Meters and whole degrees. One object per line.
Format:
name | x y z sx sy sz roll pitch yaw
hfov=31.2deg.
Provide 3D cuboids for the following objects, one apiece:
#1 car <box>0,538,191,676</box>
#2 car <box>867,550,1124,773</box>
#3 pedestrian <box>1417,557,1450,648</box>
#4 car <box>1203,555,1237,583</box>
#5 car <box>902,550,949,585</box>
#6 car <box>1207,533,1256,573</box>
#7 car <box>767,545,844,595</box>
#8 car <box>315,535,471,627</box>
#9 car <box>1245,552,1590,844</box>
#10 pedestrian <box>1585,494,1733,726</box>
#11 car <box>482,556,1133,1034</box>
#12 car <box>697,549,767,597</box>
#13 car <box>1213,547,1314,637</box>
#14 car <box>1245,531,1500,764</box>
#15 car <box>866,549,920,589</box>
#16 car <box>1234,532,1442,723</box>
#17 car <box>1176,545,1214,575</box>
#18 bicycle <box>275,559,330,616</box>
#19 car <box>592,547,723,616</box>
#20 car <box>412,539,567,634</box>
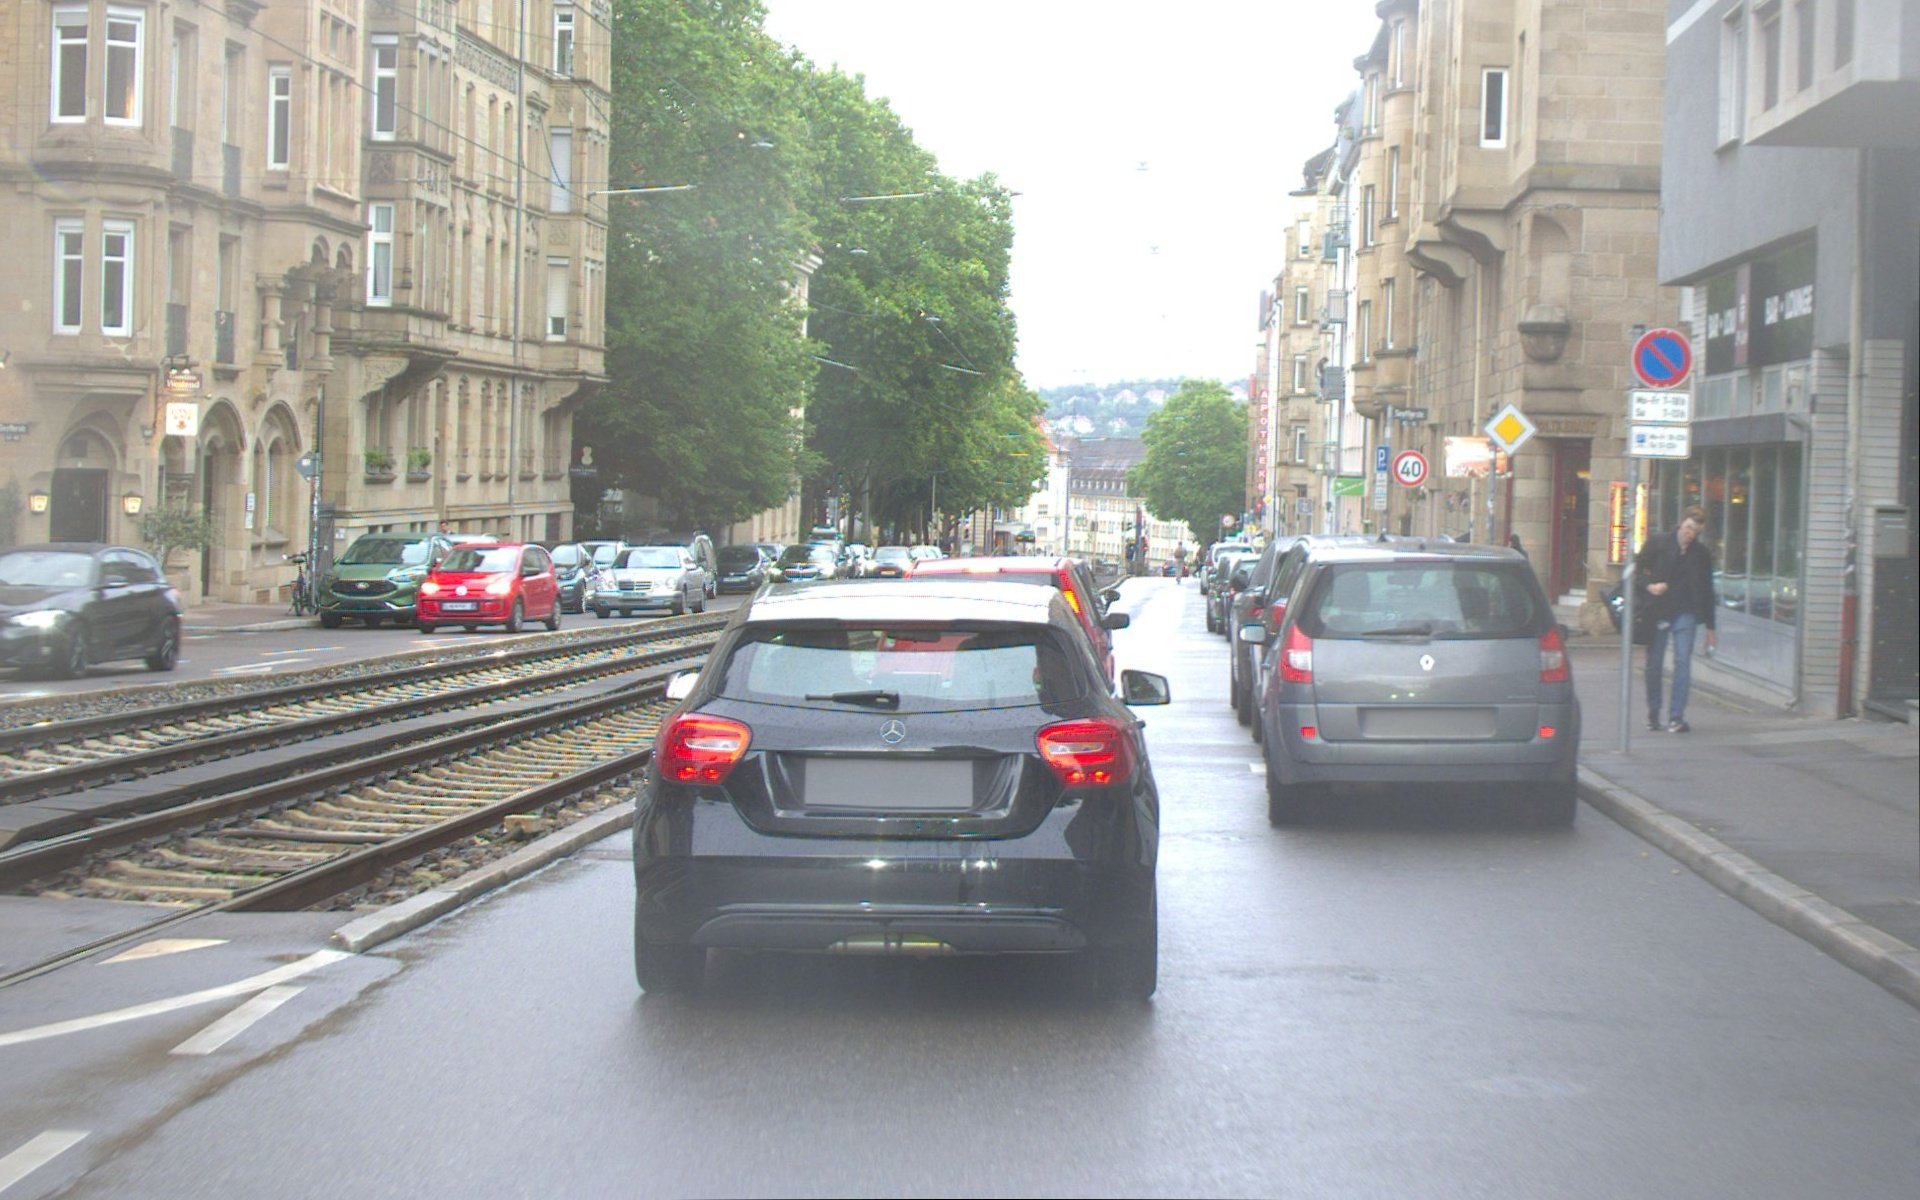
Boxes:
car | -9.823 0.040 36.760 1.948 1.392 4.273 0 1 4
car | 0.335 0.388 25.283 1.649 1.447 4.000 2 1 3
pedestrian | 7.721 0.043 56.082 0.454 1.462 0.610 1 1 4
car | 13.024 -1.554 172.174 1.614 1.313 4.000 3 1 4
car | -1.395 -1.355 141.996 1.569 1.408 3.480 0 1 6
car | 9.100 -1.586 115.419 1.613 1.313 4.000 0 1 4
car | -4.353 -0.851 97.221 1.695 1.384 3.480 0 1 6
car | -9.832 -0.355 59.839 1.722 1.536 3.933 0 1 6
car | 2.664 0.496 20.919 1.765 1.553 4.745 1 1 4
pedestrian | 5.453 0.066 26.872 0.945 1.763 1.015 1 1 2
car | -0.395 0.588 12.916 1.867 1.447 3.999 1 1 6
car | -6.905 -0.837 104.485 1.569 1.408 3.480 0 1 6
car | 5.187 -0.163 59.085 1.622 1.479 4.000 0 1 4
car | 3.138 0.310 26.833 1.683 1.664 4.122 0 1 3
car | -2.422 -1.146 125.060 1.569 1.408 3.480 0 1 6
car | 3.503 0.205 32.513 1.750 1.664 4.703 0 1 4
car | 10.398 -1.785 152.170 1.613 1.313 4.000 0 1 4
bicycle | -11.679 -0.233 61.132 0.598 0.997 2.080 0 1 0
car | -6.113 -0.395 70.001 1.807 1.356 4.762 0 1 6
car | -7.653 -0.245 56.205 1.681 1.492 3.518 0 1 7
